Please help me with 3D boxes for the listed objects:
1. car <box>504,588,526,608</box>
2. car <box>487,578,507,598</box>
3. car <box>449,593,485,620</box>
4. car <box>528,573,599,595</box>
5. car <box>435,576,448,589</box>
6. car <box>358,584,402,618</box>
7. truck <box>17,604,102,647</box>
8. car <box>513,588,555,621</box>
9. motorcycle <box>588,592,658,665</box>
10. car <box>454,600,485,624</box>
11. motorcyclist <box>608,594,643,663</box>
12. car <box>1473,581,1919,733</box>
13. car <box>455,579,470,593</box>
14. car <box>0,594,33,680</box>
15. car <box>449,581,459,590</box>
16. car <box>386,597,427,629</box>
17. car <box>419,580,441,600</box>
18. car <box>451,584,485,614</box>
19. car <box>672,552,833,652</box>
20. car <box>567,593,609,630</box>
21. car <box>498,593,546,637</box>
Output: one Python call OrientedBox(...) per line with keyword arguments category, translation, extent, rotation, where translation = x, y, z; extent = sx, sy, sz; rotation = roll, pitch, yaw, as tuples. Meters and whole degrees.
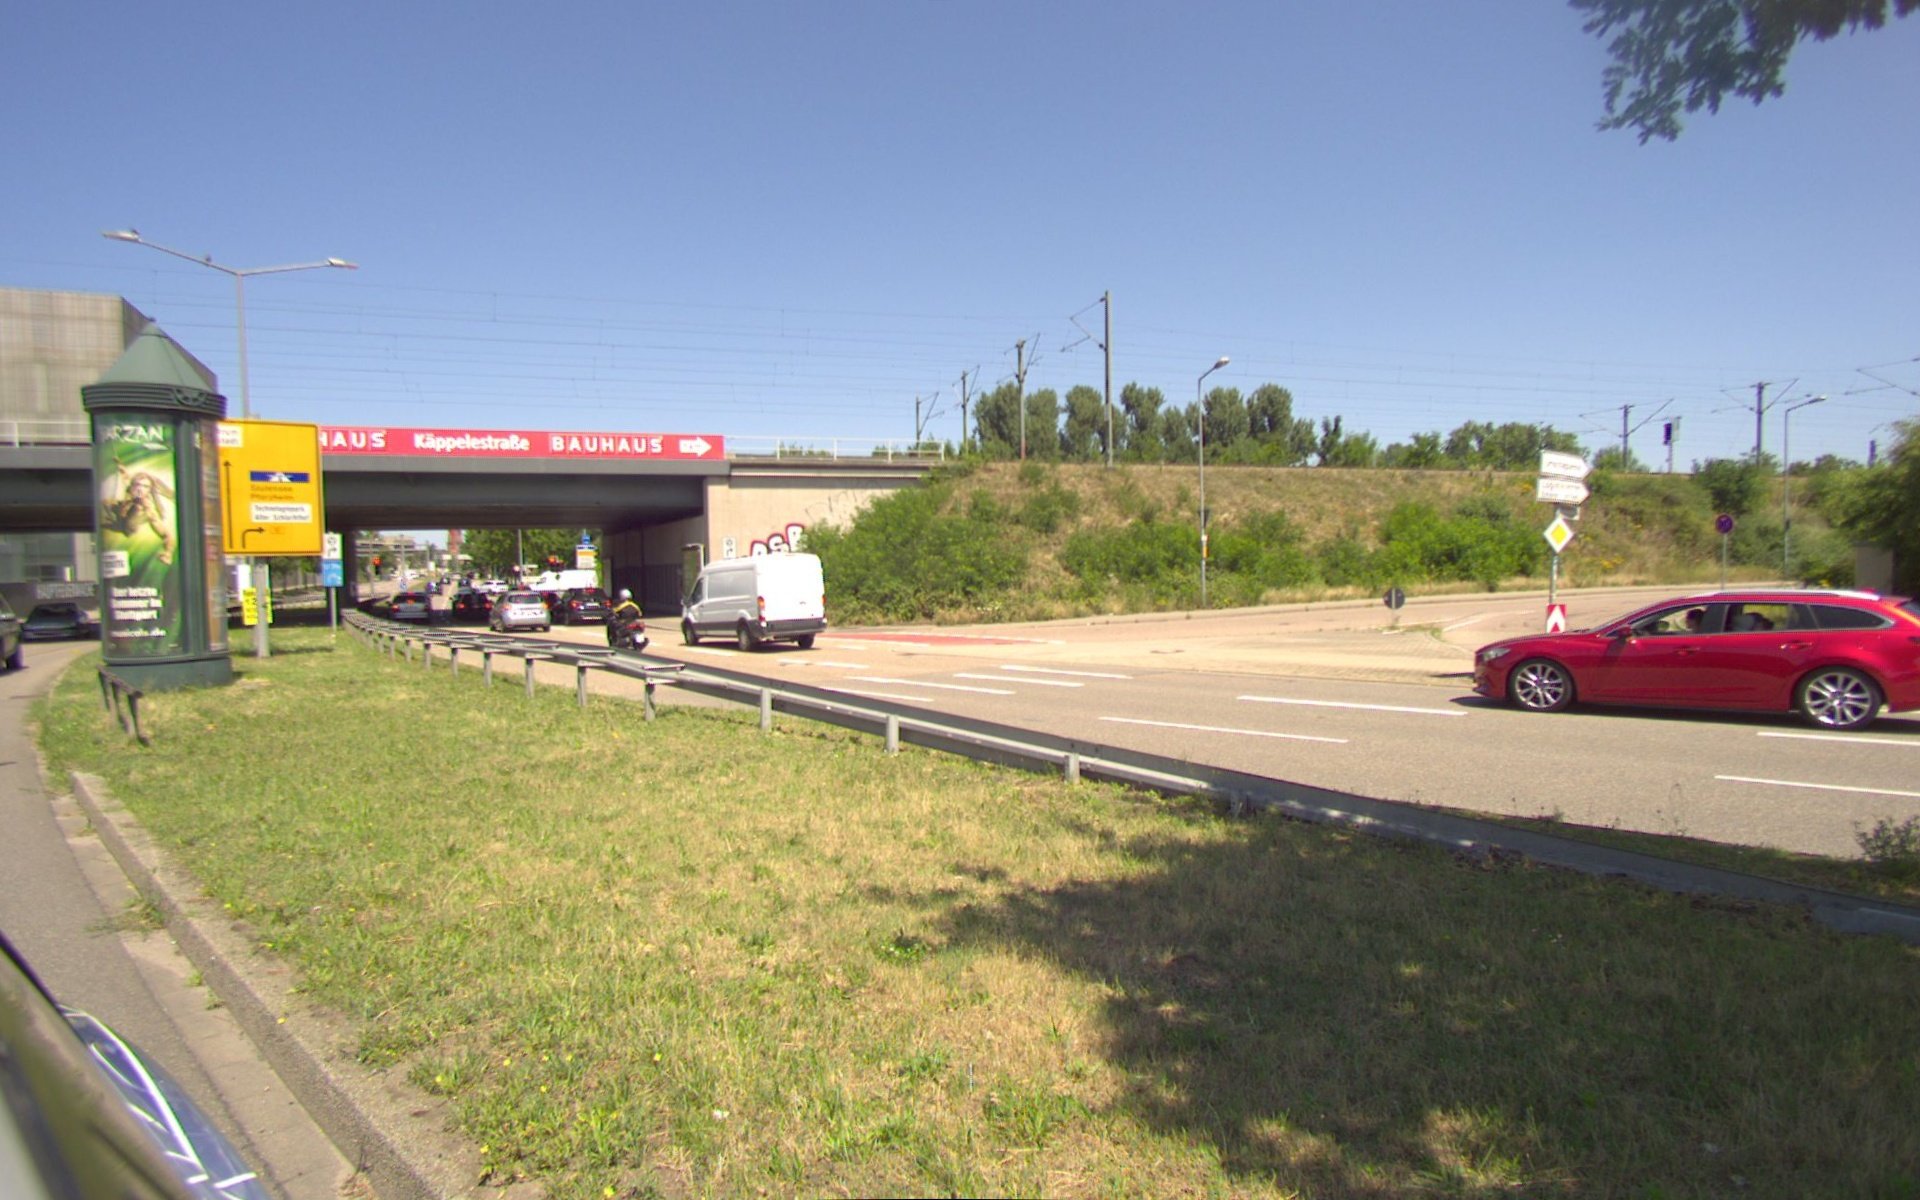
OrientedBox(category="car", translation=(-29.039, -0.113, 66.127), extent=(1.166, 1.257, 2.701), rotation=(-1, 1, -21))
OrientedBox(category="car", translation=(-48.394, -1.199, 105.682), extent=(1.678, 2.029, 4.013), rotation=(-1, 1, -27))
OrientedBox(category="car", translation=(-28.991, 0.342, 59.535), extent=(1.593, 1.487, 3.444), rotation=(-1, 1, -21))
OrientedBox(category="car", translation=(-39.757, -1.572, 101.561), extent=(6.290, 2.118, 2.001), rotation=(-1, 1, -2))
OrientedBox(category="car", translation=(-85.409, -2.851, 166.784), extent=(1.809, 2.029, 4.013), rotation=(-1, 1, -28))
OrientedBox(category="car", translation=(-33.988, 0.029, 59.378), extent=(1.875, 1.874, 4.013), rotation=(-1, 1, -25))
OrientedBox(category="truck", translation=(-35.710, 0.970, 40.233), extent=(1.702, 1.513, 4.013), rotation=(-1, 1, -29))
OrientedBox(category="car", translation=(-23.256, 0.225, 55.188), extent=(1.747, 1.680, 4.028), rotation=(-1, 1, -28))
OrientedBox(category="motorcycle", translation=(-8.197, 0.656, 24.549), extent=(0.590, 1.691, 2.427), rotation=(-1, 1, -44))
OrientedBox(category="car", translation=(-26.220, 0.612, 54.163), extent=(1.250, 1.194, 2.787), rotation=(-1, 1, -21))
OrientedBox(category="motorcyclist", translation=(-8.065, 0.669, 24.415), extent=(0.580, 1.638, 0.563), rotation=(-1, 1, -44))
OrientedBox(category="car", translation=(8.628, 0.542, 11.663), extent=(4.527, 1.448, 1.810), rotation=(0, 1, 44))
OrientedBox(category="car", translation=(-71.607, -1.993, 145.647), extent=(1.809, 2.029, 4.013), rotation=(-1, 1, -28))
OrientedBox(category="car", translation=(-20.762, 0.754, 20.925), extent=(1.816, 1.708, 3.709), rotation=(-1, 1, -34))
OrientedBox(category="car", translation=(-108.957, -3.084, 217.857), extent=(1.965, 2.029, 4.013), rotation=(-1, 1, -27))
OrientedBox(category="car", translation=(-25.844, 0.573, 47.350), extent=(1.611, 1.413, 4.235), rotation=(0, 0, -28))
OrientedBox(category="car", translation=(-55.820, -1.091, 106.562), extent=(1.965, 2.029, 4.013), rotation=(-1, 1, -27))
OrientedBox(category="car", translation=(-31.755, -0.083, 65.432), extent=(1.875, 1.874, 4.013), rotation=(-1, 1, -25))
OrientedBox(category="car", translation=(-5.964, 0.133, 28.436), extent=(2.067, 2.519, 5.821), rotation=(-1, -2, -37))
OrientedBox(category="car", translation=(-16.590, 0.473, 45.019), extent=(1.493, 1.553, 3.692), rotation=(-1, 1, -24))
OrientedBox(category="car", translation=(-16.784, 0.553, 38.787), extent=(1.611, 1.579, 4.086), rotation=(0, 0, -24))
